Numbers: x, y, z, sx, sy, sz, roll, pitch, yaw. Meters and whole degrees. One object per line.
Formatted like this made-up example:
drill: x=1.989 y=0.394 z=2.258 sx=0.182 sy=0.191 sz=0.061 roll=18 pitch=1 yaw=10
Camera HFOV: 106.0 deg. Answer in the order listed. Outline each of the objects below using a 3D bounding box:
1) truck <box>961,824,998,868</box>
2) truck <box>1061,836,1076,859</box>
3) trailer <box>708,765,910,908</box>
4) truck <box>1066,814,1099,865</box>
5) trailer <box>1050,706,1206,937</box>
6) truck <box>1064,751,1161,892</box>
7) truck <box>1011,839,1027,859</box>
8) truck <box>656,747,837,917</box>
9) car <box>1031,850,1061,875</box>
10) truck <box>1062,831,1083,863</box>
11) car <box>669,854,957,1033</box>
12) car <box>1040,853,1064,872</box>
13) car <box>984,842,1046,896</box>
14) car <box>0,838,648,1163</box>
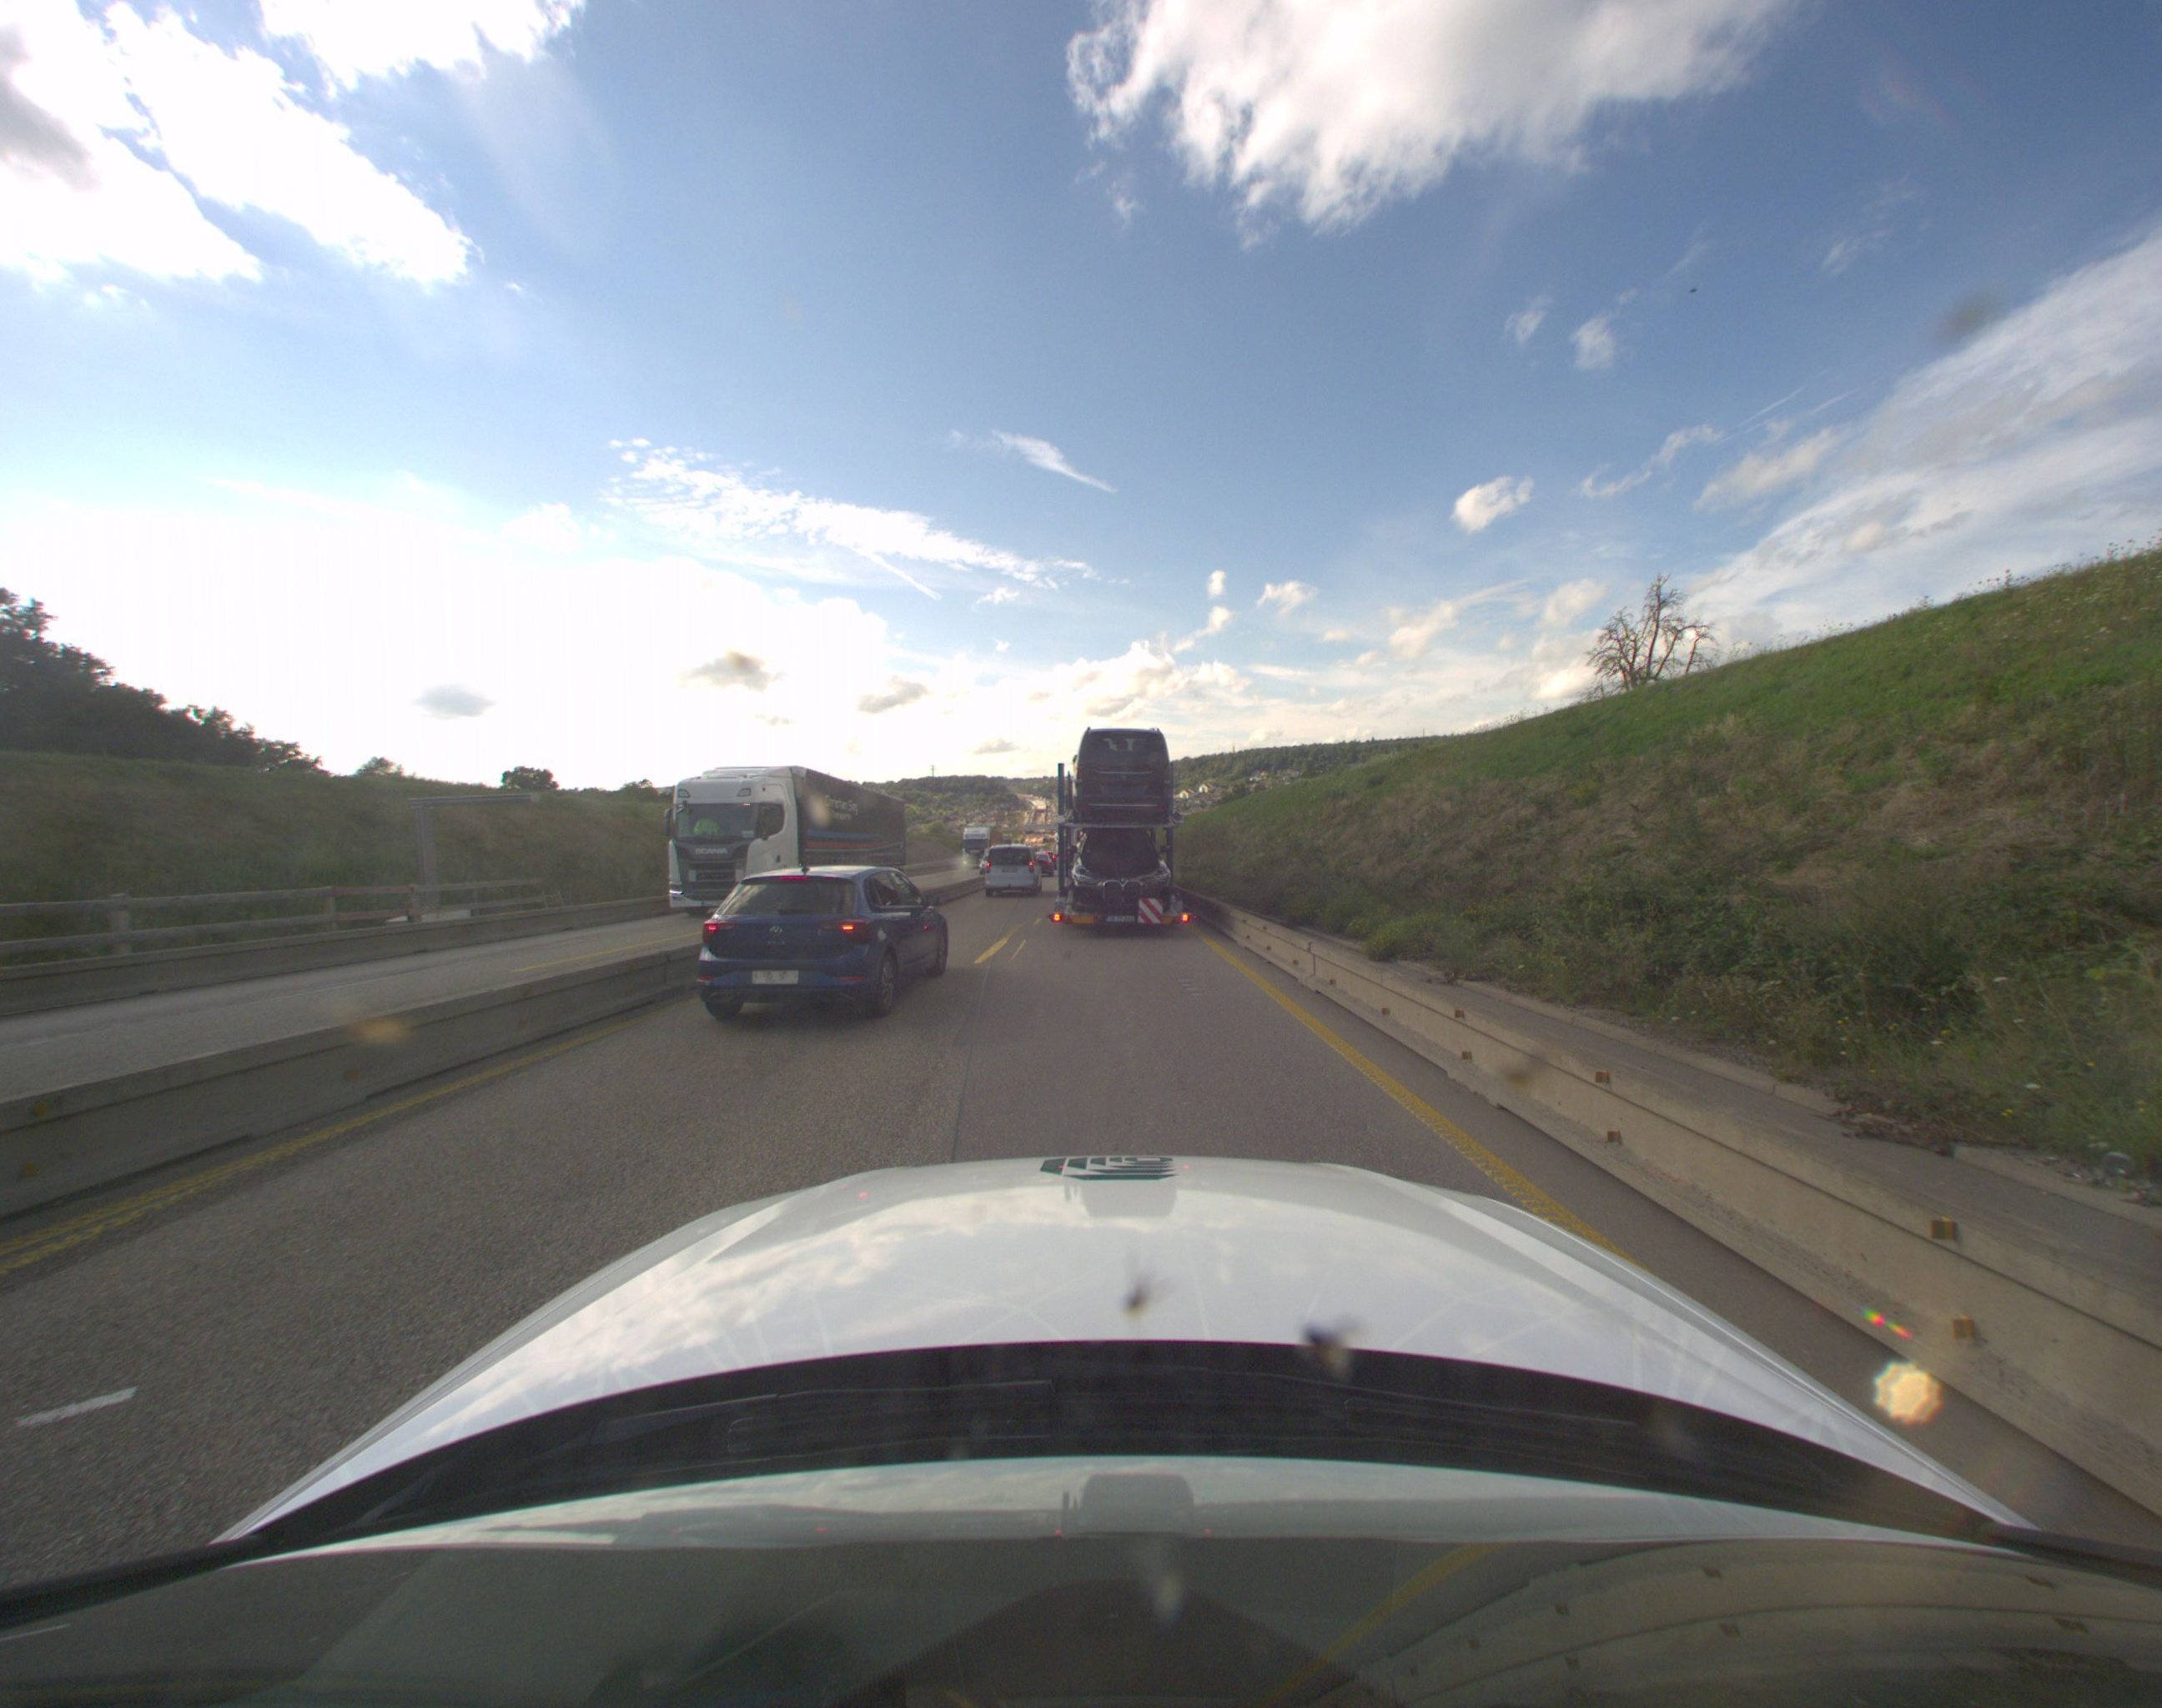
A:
truck: x=-10.213 y=-0.782 z=82.954 sx=2.631 sy=4.099 sz=10.812 roll=-1 pitch=0 yaw=-1
truck: x=-2.665 y=-1.385 z=171.903 sx=2.856 sy=4.570 sz=11.650 roll=-1 pitch=0 yaw=-2
trailer: x=-9.089 y=-0.525 z=29.754 sx=2.606 sy=3.953 sz=13.873 roll=-1 pitch=0 yaw=0
truck: x=0.061 y=-1.371 z=79.755 sx=2.856 sy=4.570 sz=11.650 roll=-1 pitch=0 yaw=-2
trailer: x=0.904 y=-0.599 z=20.104 sx=2.699 sy=4.029 sz=11.420 roll=-1 pitch=0 yaw=1
truck: x=0.942 y=-0.936 z=25.990 sx=2.669 sy=3.922 sz=6.028 roll=-1 pitch=0 yaw=1
truck: x=-12.996 y=-1.086 z=171.073 sx=2.630 sy=4.099 sz=10.816 roll=-1 pitch=0 yaw=0
truck: x=-9.097 y=-0.562 z=22.947 sx=2.606 sy=4.153 sz=5.781 roll=-1 pitch=0 yaw=0
car: x=-2.176 y=0.514 z=51.583 sx=1.818 sy=1.492 sz=4.681 roll=0 pitch=1 yaw=-2
truck: x=-1.358 y=-1.020 z=124.141 sx=2.856 sy=4.570 sz=11.650 roll=-1 pitch=0 yaw=-2
car: x=-2.593 y=0.763 z=8.932 sx=1.708 sy=1.508 sz=4.002 roll=0 pitch=0 yaw=2
car: x=-2.528 y=0.726 z=72.408 sx=1.988 sy=1.625 sz=4.748 roll=0 pitch=0 yaw=-1
car: x=-2.340 y=0.491 z=29.938 sx=1.817 sy=1.823 sz=4.457 roll=0 pitch=1 yaw=1
car: x=-6.289 y=0.787 z=7.166 sx=1.941 sy=1.747 sz=5.578 roll=0 pitch=0 yaw=0
